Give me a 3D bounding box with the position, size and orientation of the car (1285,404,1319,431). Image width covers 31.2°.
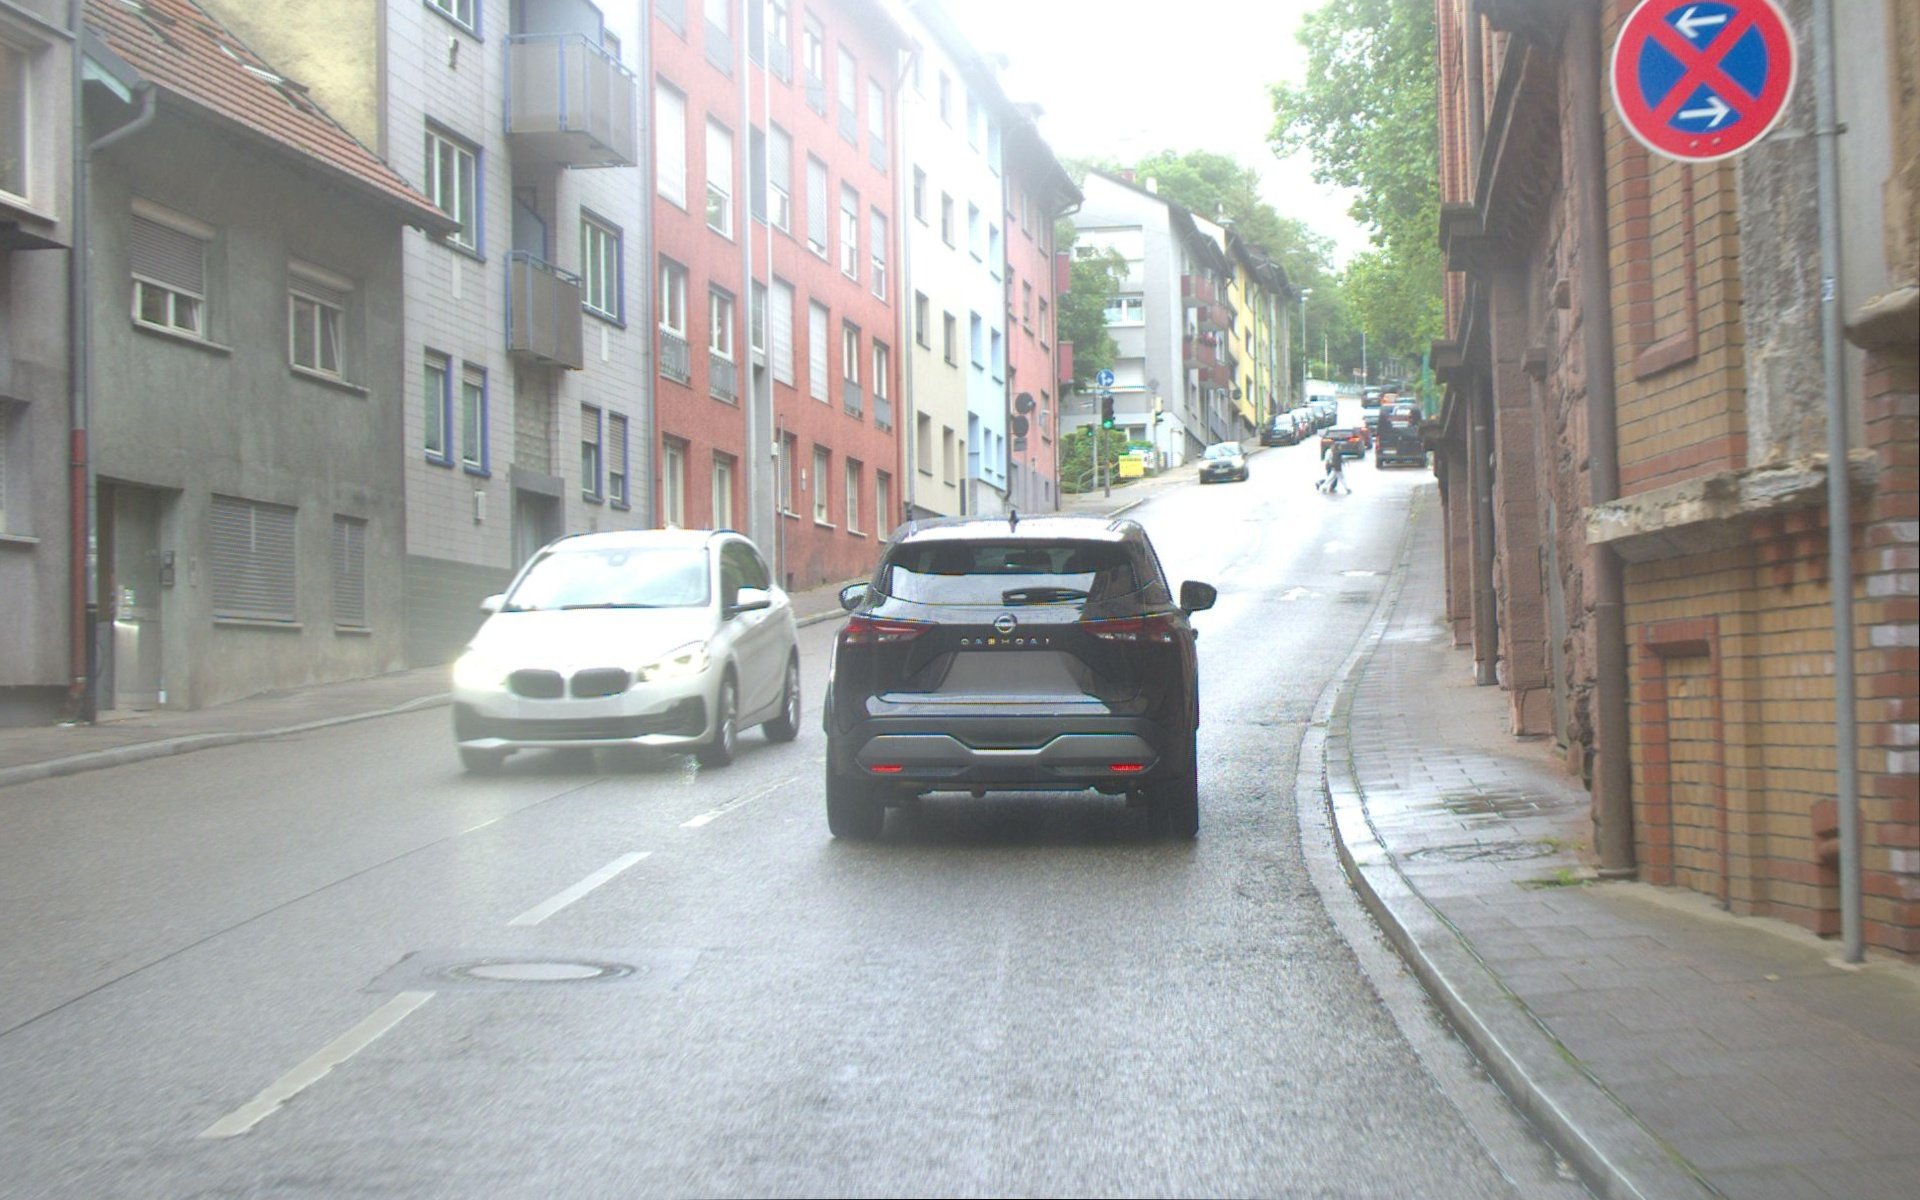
[{"bbox_3d":[20.302,-10.826,203.989,1.795,1.505,3.999,-1,2,8],"label":"car"}]

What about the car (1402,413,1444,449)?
[{"bbox_3d":[20.729,-7.564,153.925,1.795,1.505,4.499,-1,2,8],"label":"car"}]

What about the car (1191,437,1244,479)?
[{"bbox_3d":[9.642,-5.333,128.638,1.714,1.442,3.921,-2,3,7],"label":"car"}]

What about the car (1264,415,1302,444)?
[{"bbox_3d":[17.312,-9.140,184.398,1.795,1.505,3.999,-1,2,8],"label":"car"}]

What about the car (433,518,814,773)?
[{"bbox_3d":[-2.219,0.256,23.765,1.765,1.571,4.035,-2,1,7],"label":"car"}]

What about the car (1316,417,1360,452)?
[{"bbox_3d":[17.207,-7.535,156.390,1.795,1.505,3.999,-1,2,8],"label":"car"}]

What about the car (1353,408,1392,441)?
[{"bbox_3d":[20.561,-8.737,171.264,1.795,1.505,3.999,-1,2,8],"label":"car"}]

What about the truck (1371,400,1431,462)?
[{"bbox_3d":[17.934,-6.843,139.534,2.290,2.431,4.451,-1,2,8],"label":"truck"}]

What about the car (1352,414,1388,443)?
[{"bbox_3d":[22.348,-9.346,187.348,1.795,1.505,3.999,-1,2,8],"label":"car"}]

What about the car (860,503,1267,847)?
[{"bbox_3d":[0.458,0.346,17.923,1.881,1.588,3.921,0,0,-1],"label":"car"}]

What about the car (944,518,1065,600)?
[{"bbox_3d":[0.857,-0.781,63.722,1.645,1.373,3.850,-3,1,9],"label":"car"}]
